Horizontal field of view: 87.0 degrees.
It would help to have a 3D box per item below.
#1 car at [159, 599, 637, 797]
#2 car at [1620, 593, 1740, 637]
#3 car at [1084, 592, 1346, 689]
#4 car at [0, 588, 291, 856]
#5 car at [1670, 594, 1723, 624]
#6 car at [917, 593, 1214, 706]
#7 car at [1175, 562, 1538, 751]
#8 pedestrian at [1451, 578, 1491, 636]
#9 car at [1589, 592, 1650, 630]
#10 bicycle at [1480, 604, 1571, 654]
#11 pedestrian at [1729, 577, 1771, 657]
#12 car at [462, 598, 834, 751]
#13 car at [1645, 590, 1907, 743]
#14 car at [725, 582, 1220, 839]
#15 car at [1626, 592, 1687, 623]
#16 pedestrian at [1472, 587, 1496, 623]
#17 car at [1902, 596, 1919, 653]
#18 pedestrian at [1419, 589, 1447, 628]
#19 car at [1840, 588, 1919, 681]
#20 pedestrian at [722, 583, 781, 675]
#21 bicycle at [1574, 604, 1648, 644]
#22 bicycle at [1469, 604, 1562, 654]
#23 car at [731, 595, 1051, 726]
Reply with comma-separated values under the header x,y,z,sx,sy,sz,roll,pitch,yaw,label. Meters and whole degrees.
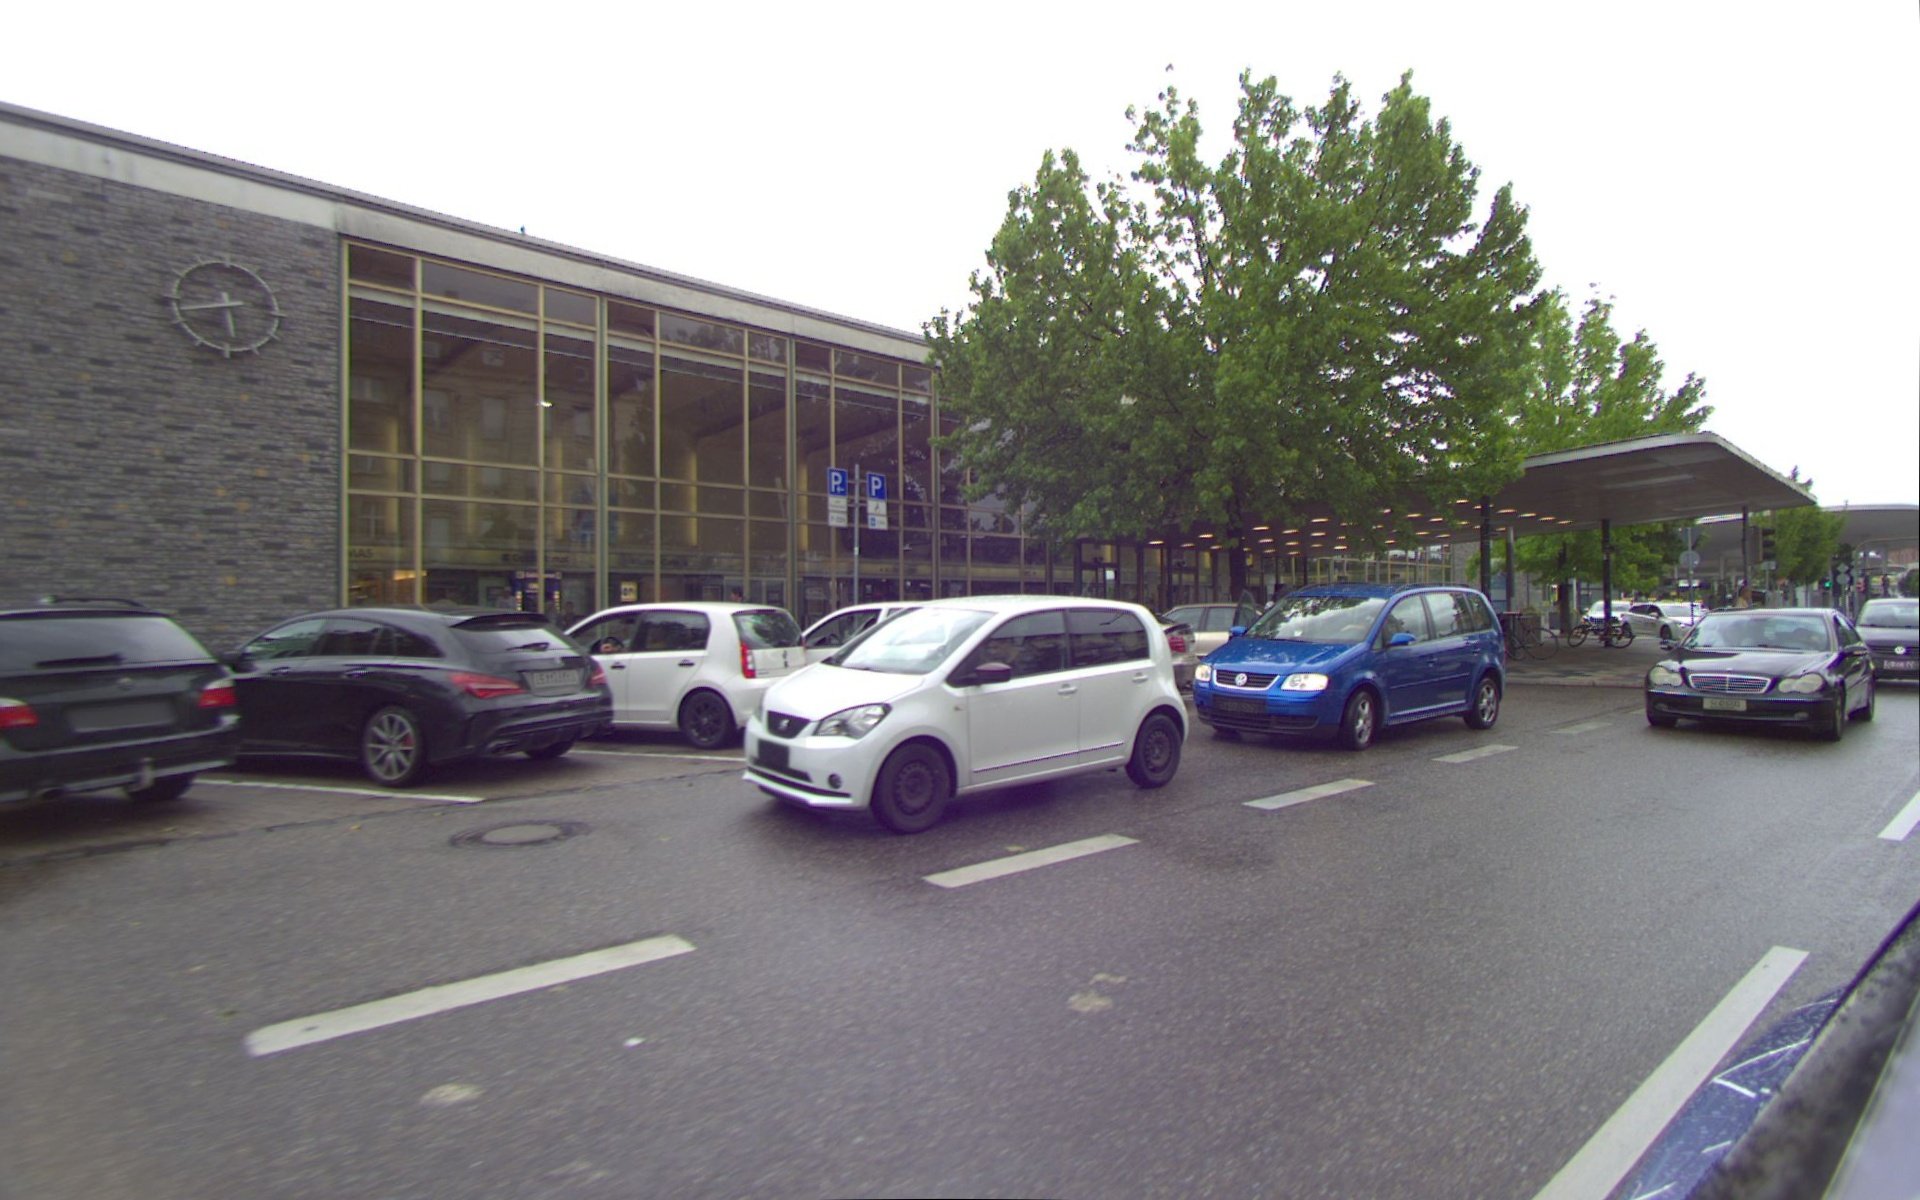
x,y,z,sx,sy,sz,roll,pitch,yaw,label
-4.887,0.715,8.874,3.644,1.417,1.767,0,0,21,car
26.411,0.504,37.301,1.789,1.510,4.152,0,0,6,car
4.181,0.582,16.656,3.895,1.417,1.762,0,0,28,car
-7.152,0.661,7.082,4.414,1.490,1.907,0,0,20,car
41.447,0.470,56.928,4.010,1.610,1.816,0,0,-45,car
1.508,0.614,14.299,3.883,1.417,1.767,0,0,21,car
4.497,0.493,11.179,4.336,1.704,1.824,0,0,-38,car
16.183,0.214,32.037,0.895,1.780,0.824,0,0,-36,pedestrian
28.590,0.423,43.804,1.812,1.575,4.402,0,0,39,car
12.645,0.640,22.671,1.696,1.059,0.522,1,0,16,bicycle
18.005,0.379,23.062,0.686,1.773,0.561,0,1,-36,pedestrian
-3.358,0.695,11.011,3.576,1.417,1.767,0,0,21,car
9.625,0.635,11.847,3.761,1.493,1.869,0,0,-43,car
0.209,0.628,7.652,3.524,1.493,1.661,0,0,-39,car
36.019,0.357,52.274,4.392,1.510,1.816,0,0,-45,car
24.636,0.243,47.581,0.837,1.669,0.761,0,0,-41,pedestrian
27.006,0.647,27.601,3.607,1.505,1.617,0,0,-42,car
19.050,0.337,40.735,0.837,1.530,0.761,0,0,-41,pedestrian
16.791,0.542,17.589,3.761,1.493,1.869,0,0,-43,car
-3.882,0.517,18.866,0.819,1.662,0.757,0,0,-42,pedestrian
18.442,0.655,28.695,1.712,1.059,0.518,1,1,39,bicycle
12.121,0.632,22.121,1.691,1.059,0.524,0,0,8,bicycle
-0.823,0.649,12.540,3.576,1.417,1.767,0,0,21,car
